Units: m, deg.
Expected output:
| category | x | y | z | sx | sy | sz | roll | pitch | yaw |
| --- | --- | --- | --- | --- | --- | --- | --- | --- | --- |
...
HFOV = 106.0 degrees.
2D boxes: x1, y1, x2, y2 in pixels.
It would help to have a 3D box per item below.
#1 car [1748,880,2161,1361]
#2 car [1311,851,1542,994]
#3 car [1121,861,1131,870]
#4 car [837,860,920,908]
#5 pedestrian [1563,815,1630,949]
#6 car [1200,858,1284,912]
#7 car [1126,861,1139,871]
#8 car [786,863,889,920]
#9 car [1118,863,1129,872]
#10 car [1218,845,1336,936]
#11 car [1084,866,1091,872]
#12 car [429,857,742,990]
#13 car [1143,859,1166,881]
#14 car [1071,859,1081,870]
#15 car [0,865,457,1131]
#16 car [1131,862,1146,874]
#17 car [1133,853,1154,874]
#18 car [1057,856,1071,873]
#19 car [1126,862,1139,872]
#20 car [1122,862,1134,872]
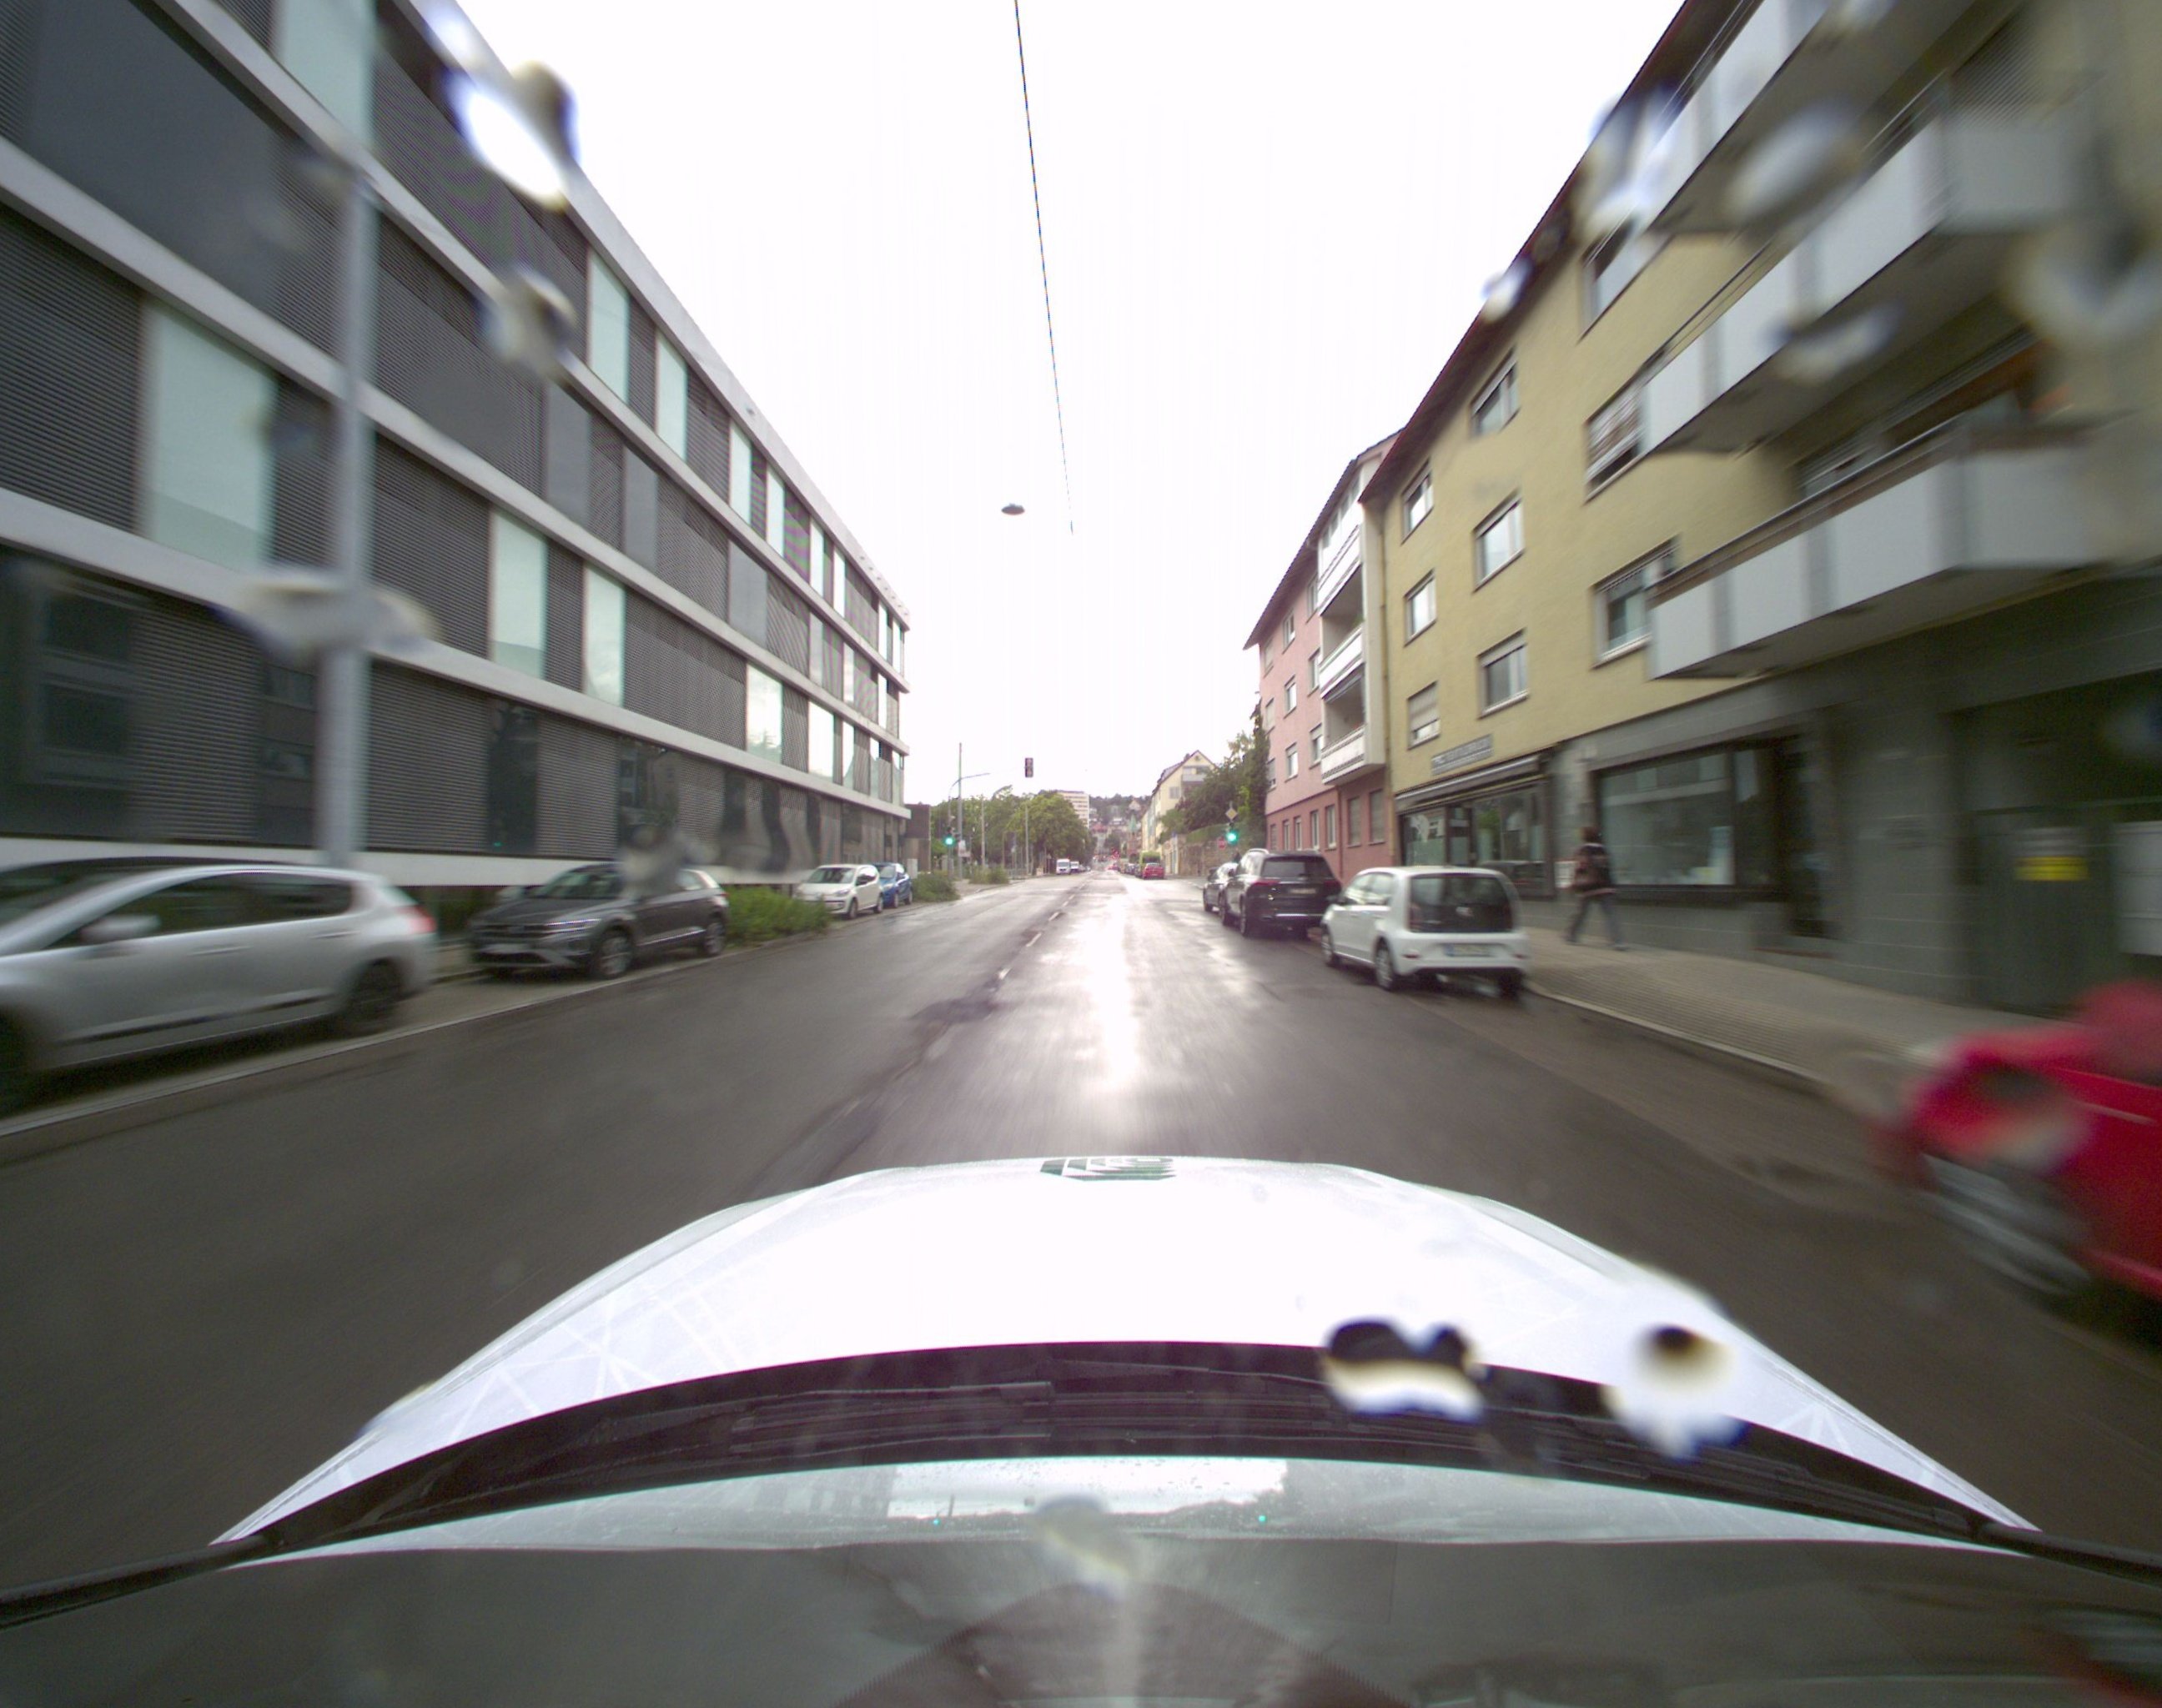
| category | x | y | z | sx | sy | sz | roll | pitch | yaw |
| --- | --- | --- | --- | --- | --- | --- | --- | --- | --- |
| car | 4.030 | 0.819 | 2.188 | 1.576 | 1.413 | 3.655 | 1 | -1 | 2 |
| car | 4.384 | 0.794 | 10.958 | 1.629 | 1.571 | 3.712 | 1 | -1 | 2 |
| car | 8.776 | 2.208 | 158.215 | 1.858 | 1.604 | 4.194 | 1 | -1 | 5 |
| car | -6.974 | 0.992 | 28.463 | 1.861 | 1.525 | 4.195 | 1 | 0 | 0 |
| pedestrian | 7.416 | 0.399 | 11.734 | 0.636 | 1.870 | 0.539 | 1 | -1 | 3 |
| car | 4.548 | 0.833 | 23.540 | 1.775 | 1.410 | 3.764 | -1 | 0 | 2 |
| car | 7.887 | 1.832 | 123.833 | 1.858 | 1.604 | 4.194 | 1 | -1 | 5 |
| car | -6.790 | 0.994 | 23.132 | 1.588 | 1.459 | 3.722 | 1 | 0 | 3 |
| car | 7.691 | 2.395 | 147.373 | 1.858 | 1.604 | 4.194 | 1 | -1 | 5 |
| car | 4.102 | 0.708 | 17.646 | 1.649 | 1.738 | 4.181 | 0 | 0 | 1 |
| car | 1.879 | 4.285 | 236.104 | 2.030 | 1.589 | 4.355 | 1 | -1 | -2 |
| car | -7.033 | 0.907 | 12.210 | 1.793 | 1.604 | 4.239 | 1 | -1 | 5 |
| car | 6.216 | 1.385 | 69.135 | 1.858 | 1.770 | 4.194 | 1 | -1 | 5 |
| car | -0.981 | 2.191 | 163.834 | 1.862 | 2.141 | 4.355 | 1 | -1 | -2 |
| car | -7.312 | 0.885 | 6.132 | 1.764 | 1.534 | 4.318 | 1 | 0 | 2 |
| car | 7.362 | 1.800 | 104.468 | 1.858 | 1.604 | 4.194 | 1 | -1 | 5 |
| car | 6.029 | 0.956 | 78.299 | 1.858 | 1.973 | 4.194 | 1 | -1 | 5 |
| car | -2.600 | 1.580 | 124.990 | 2.098 | 2.546 | 4.749 | 1 | -1 | 0 |
| car | 8.148 | 2.047 | 128.861 | 1.858 | 1.604 | 4.194 | 1 | -1 | 5 |
| car | 8.080 | 2.244 | 139.190 | 1.858 | 1.604 | 4.194 | 1 | -1 | 5 |
